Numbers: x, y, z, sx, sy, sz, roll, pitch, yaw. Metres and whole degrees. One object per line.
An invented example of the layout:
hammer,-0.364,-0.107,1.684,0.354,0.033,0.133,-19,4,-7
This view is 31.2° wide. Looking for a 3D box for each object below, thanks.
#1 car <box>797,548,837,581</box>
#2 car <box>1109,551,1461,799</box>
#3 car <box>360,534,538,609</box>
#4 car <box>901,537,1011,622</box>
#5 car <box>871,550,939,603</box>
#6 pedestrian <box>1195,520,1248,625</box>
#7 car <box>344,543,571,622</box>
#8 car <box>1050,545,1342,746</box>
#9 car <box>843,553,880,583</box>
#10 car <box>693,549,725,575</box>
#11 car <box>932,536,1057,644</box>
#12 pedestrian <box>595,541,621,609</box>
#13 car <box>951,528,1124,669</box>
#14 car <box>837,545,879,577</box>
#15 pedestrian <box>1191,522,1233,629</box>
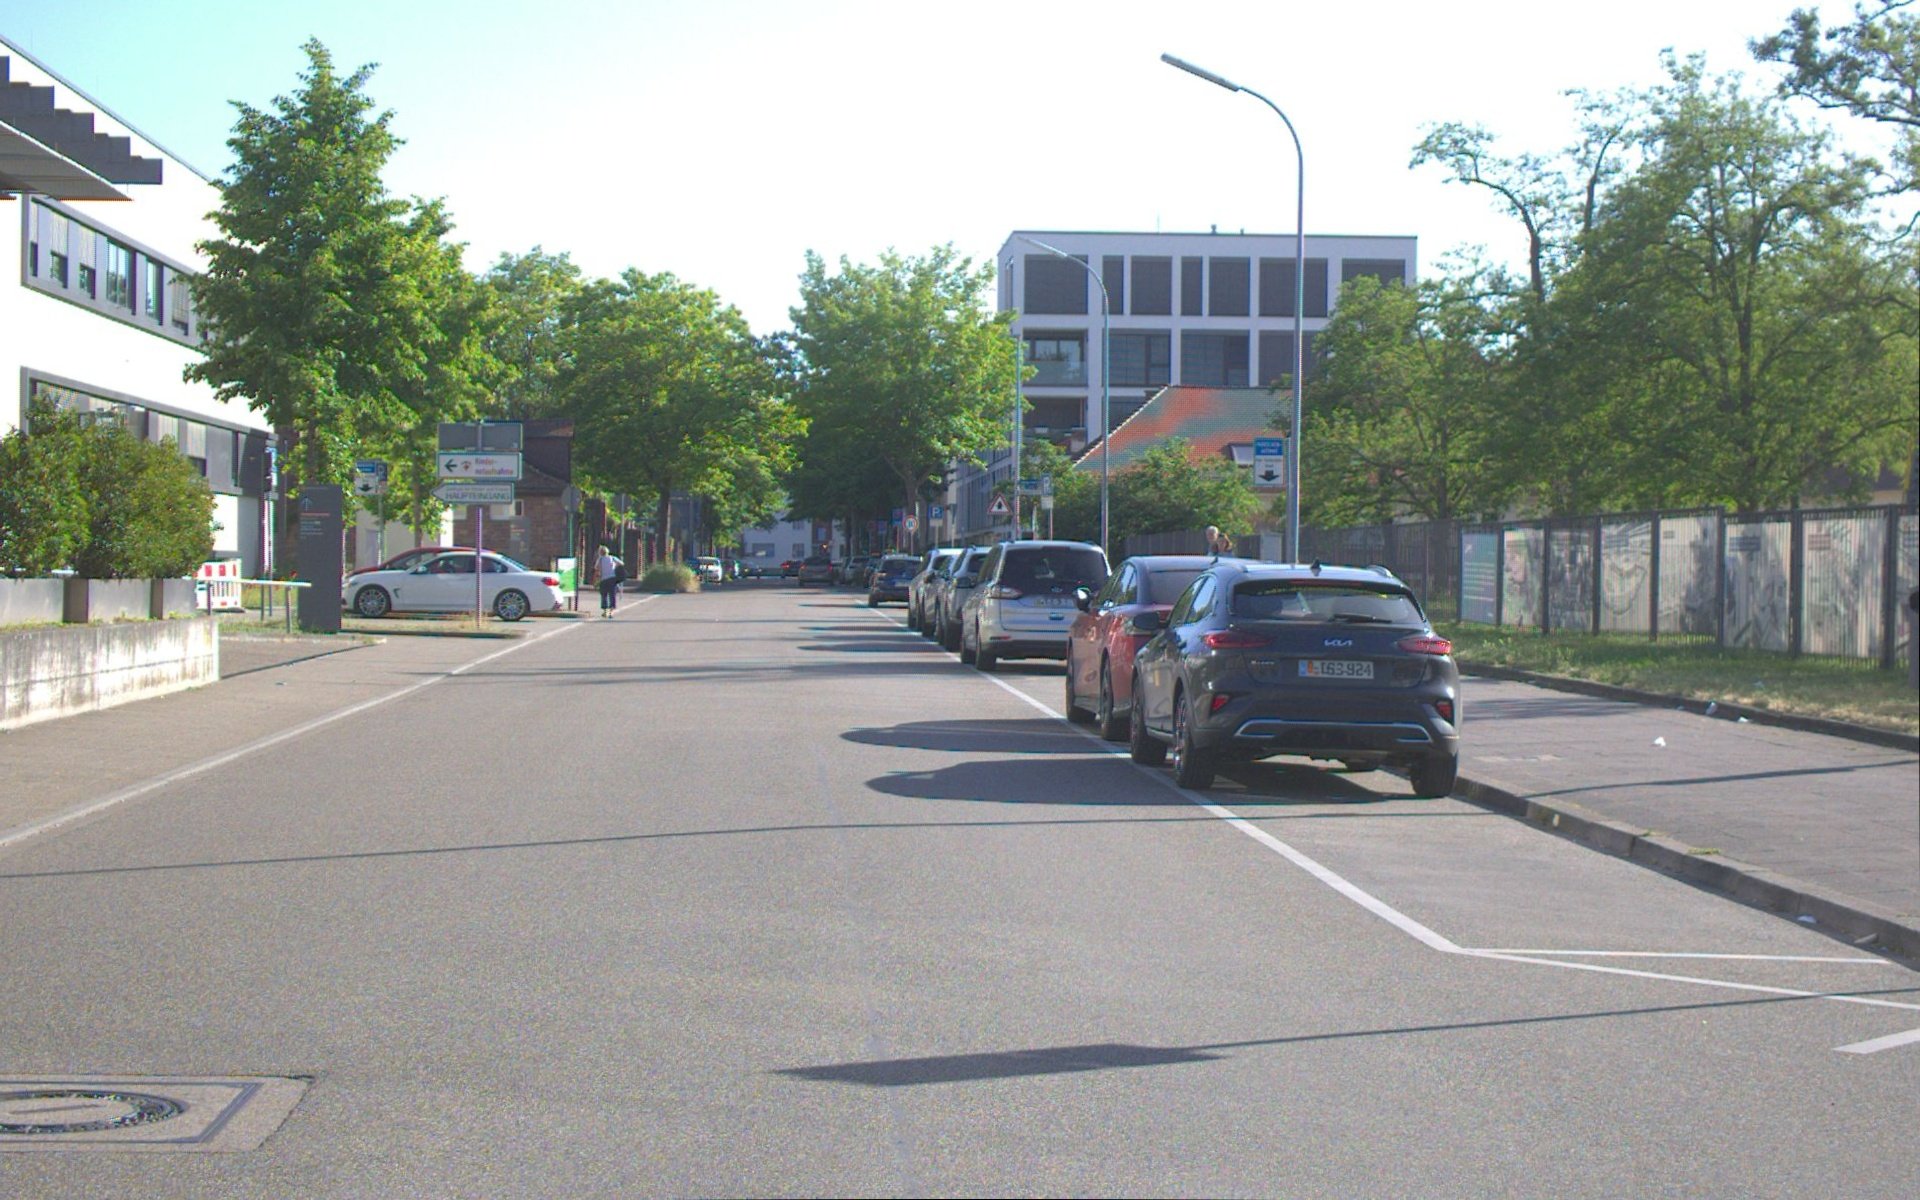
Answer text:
car,-7.001,-1.740,168.085,1.766,1.543,4.067,0,1,-4
car,2.138,0.443,23.738,1.700,1.482,4.216,2,1,-4
car,-10.901,-0.623,73.570,3.634,1.464,1.614,2,1,-5
car,-0.110,-0.433,68.700,1.812,1.583,4.263,2,1,-5
car,-1.573,-0.673,96.374,1.817,1.448,4.214,0,1,-2
pedestrian,4.109,-0.433,54.109,0.681,1.606,0.541,2,0,-5
car,-10.321,-0.369,70.759,4.510,1.362,1.700,3,1,-8
car,1.931,0.323,29.518,1.809,1.505,4.723,2,1,-4
car,-5.338,-1.743,186.514,1.950,1.573,3.837,1,1,-2
car,-14.363,-2.170,196.871,1.766,1.482,4.001,0,1,-4
car,0.510,-0.187,55.138,1.700,1.601,4.353,2,1,-3
pedestrian,-7.832,-0.562,76.531,0.538,1.518,0.607,0,1,-2
car,0.975,-0.067,45.831,1.809,1.716,4.705,2,1,-4
car,-4.678,-1.776,157.425,1.766,1.435,4.001,0,1,-4
pedestrian,4.069,-0.395,55.590,0.521,1.703,0.522,2,0,-5
